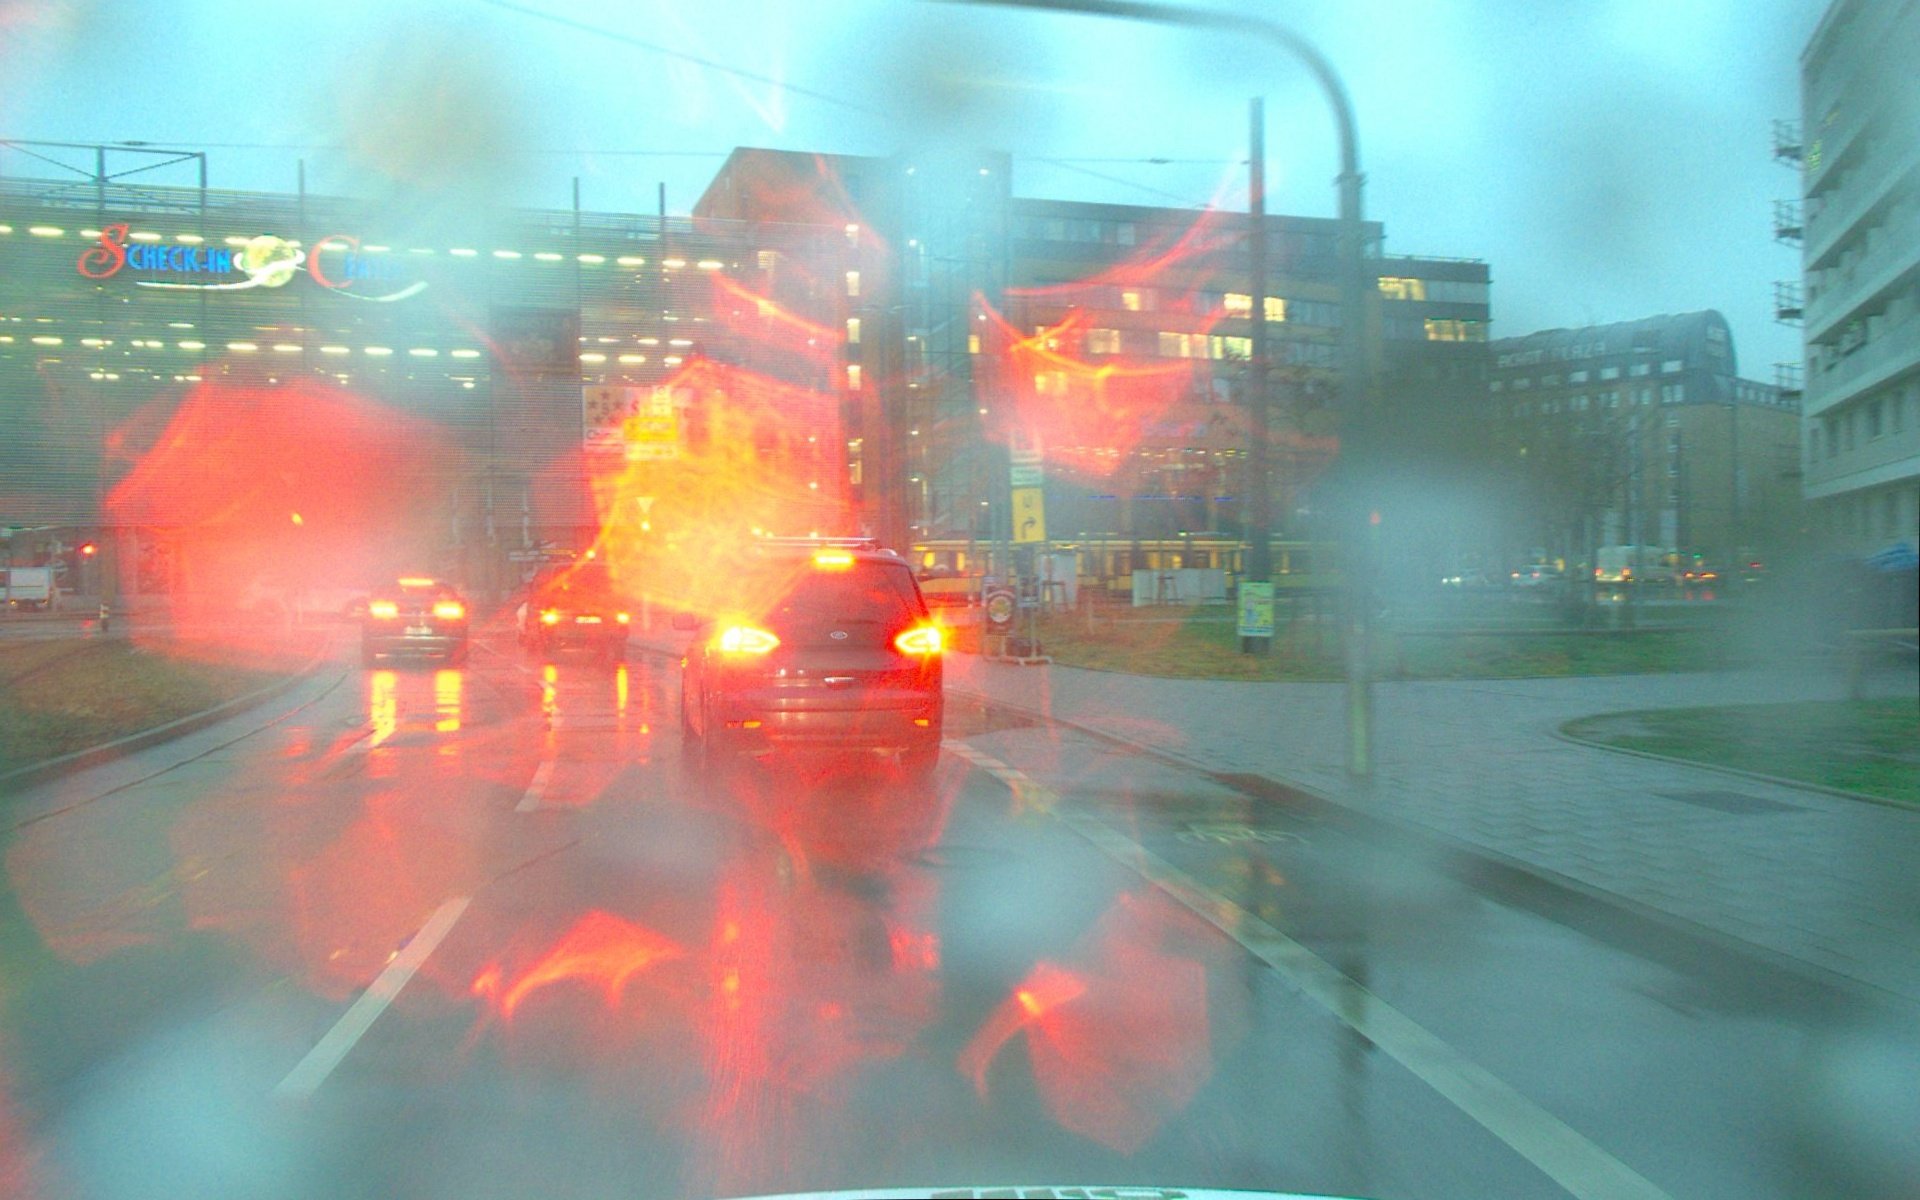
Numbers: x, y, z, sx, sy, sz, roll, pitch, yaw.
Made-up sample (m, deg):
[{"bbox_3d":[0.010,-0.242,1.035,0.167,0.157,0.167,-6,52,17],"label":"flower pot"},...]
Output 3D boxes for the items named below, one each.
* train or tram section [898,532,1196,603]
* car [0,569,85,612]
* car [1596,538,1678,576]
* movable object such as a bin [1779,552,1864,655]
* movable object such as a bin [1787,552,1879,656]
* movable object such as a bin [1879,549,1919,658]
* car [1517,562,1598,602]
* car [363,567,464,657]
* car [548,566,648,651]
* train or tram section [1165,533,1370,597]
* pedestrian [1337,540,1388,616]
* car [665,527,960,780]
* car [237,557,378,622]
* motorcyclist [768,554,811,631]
[{"bbox_3d":[4.641,-1.684,82.443,16.441,3.317,2.312,-1,1,-32],"label":"train or tram section"},{"bbox_3d":[-46.332,-0.493,81.932,5.007,1.996,1.878,2,0,-22],"label":"car"},{"bbox_3d":[39.396,-2.477,96.193,4.887,2.049,1.977,2,0,-33],"label":"car"},{"bbox_3d":[13.124,0.041,25.230,1.006,1.521,1.329,0,1,21],"label":"movable object such as a bin"},{"bbox_3d":[12.613,0.047,23.933,0.993,1.440,1.224,-2,1,21],"label":"movable object such as a bin"},{"bbox_3d":[13.711,0.054,23.589,1.015,1.516,1.038,2,0,30],"label":"movable object such as a bin"},{"bbox_3d":[32.727,-0.994,90.557,3.938,2.049,1.983,1,0,-27],"label":"car"},{"bbox_3d":[-10.585,0.200,31.925,1.727,1.601,3.977,-1,1,-20],"label":"car"},{"bbox_3d":[-7.832,0.162,35.594,1.612,1.726,3.648,0,0,-20],"label":"car"},{"bbox_3d":[16.893,-1.919,90.042,12.830,3.317,2.312,-1,1,-32],"label":"train or tram section"},{"bbox_3d":[10.722,-0.578,44.091,1.145,1.957,0.899,2,0,7],"label":"pedestrian"},{"bbox_3d":[-1.392,0.374,13.827,1.706,1.768,4.229,2,0,-15],"label":"car"},{"bbox_3d":[-22.009,-0.355,55.762,4.298,2.049,1.985,2,0,-25],"label":"car"},{"bbox_3d":[-3.521,-0.155,34.078,0.852,1.561,1.106,-1,0,-6],"label":"motorcyclist"}]
